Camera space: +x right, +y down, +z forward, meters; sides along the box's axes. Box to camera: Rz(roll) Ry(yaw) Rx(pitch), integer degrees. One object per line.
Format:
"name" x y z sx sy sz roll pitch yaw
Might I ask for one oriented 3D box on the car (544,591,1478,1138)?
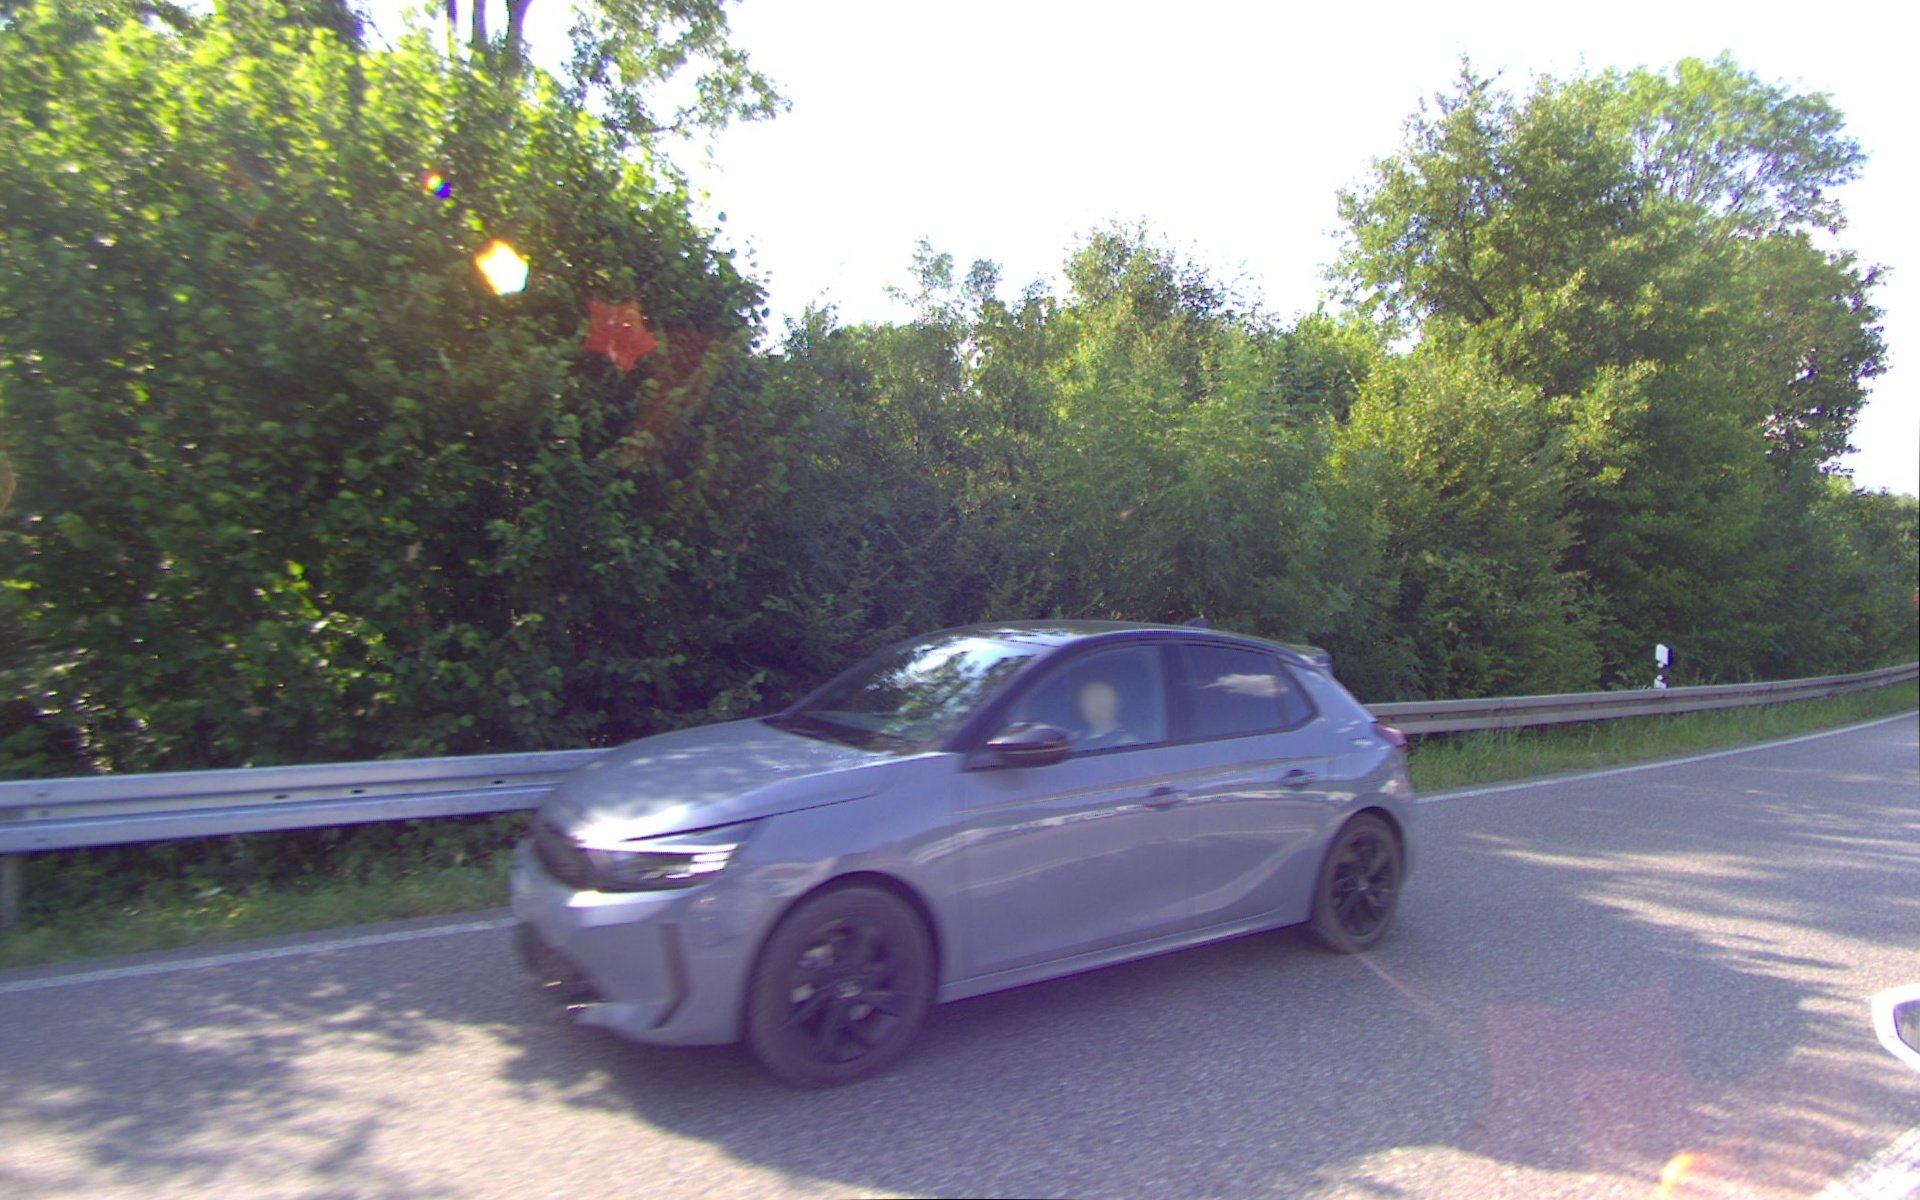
"car" 0.380 0.743 4.438 3.878 1.465 1.651 1 0 -32
